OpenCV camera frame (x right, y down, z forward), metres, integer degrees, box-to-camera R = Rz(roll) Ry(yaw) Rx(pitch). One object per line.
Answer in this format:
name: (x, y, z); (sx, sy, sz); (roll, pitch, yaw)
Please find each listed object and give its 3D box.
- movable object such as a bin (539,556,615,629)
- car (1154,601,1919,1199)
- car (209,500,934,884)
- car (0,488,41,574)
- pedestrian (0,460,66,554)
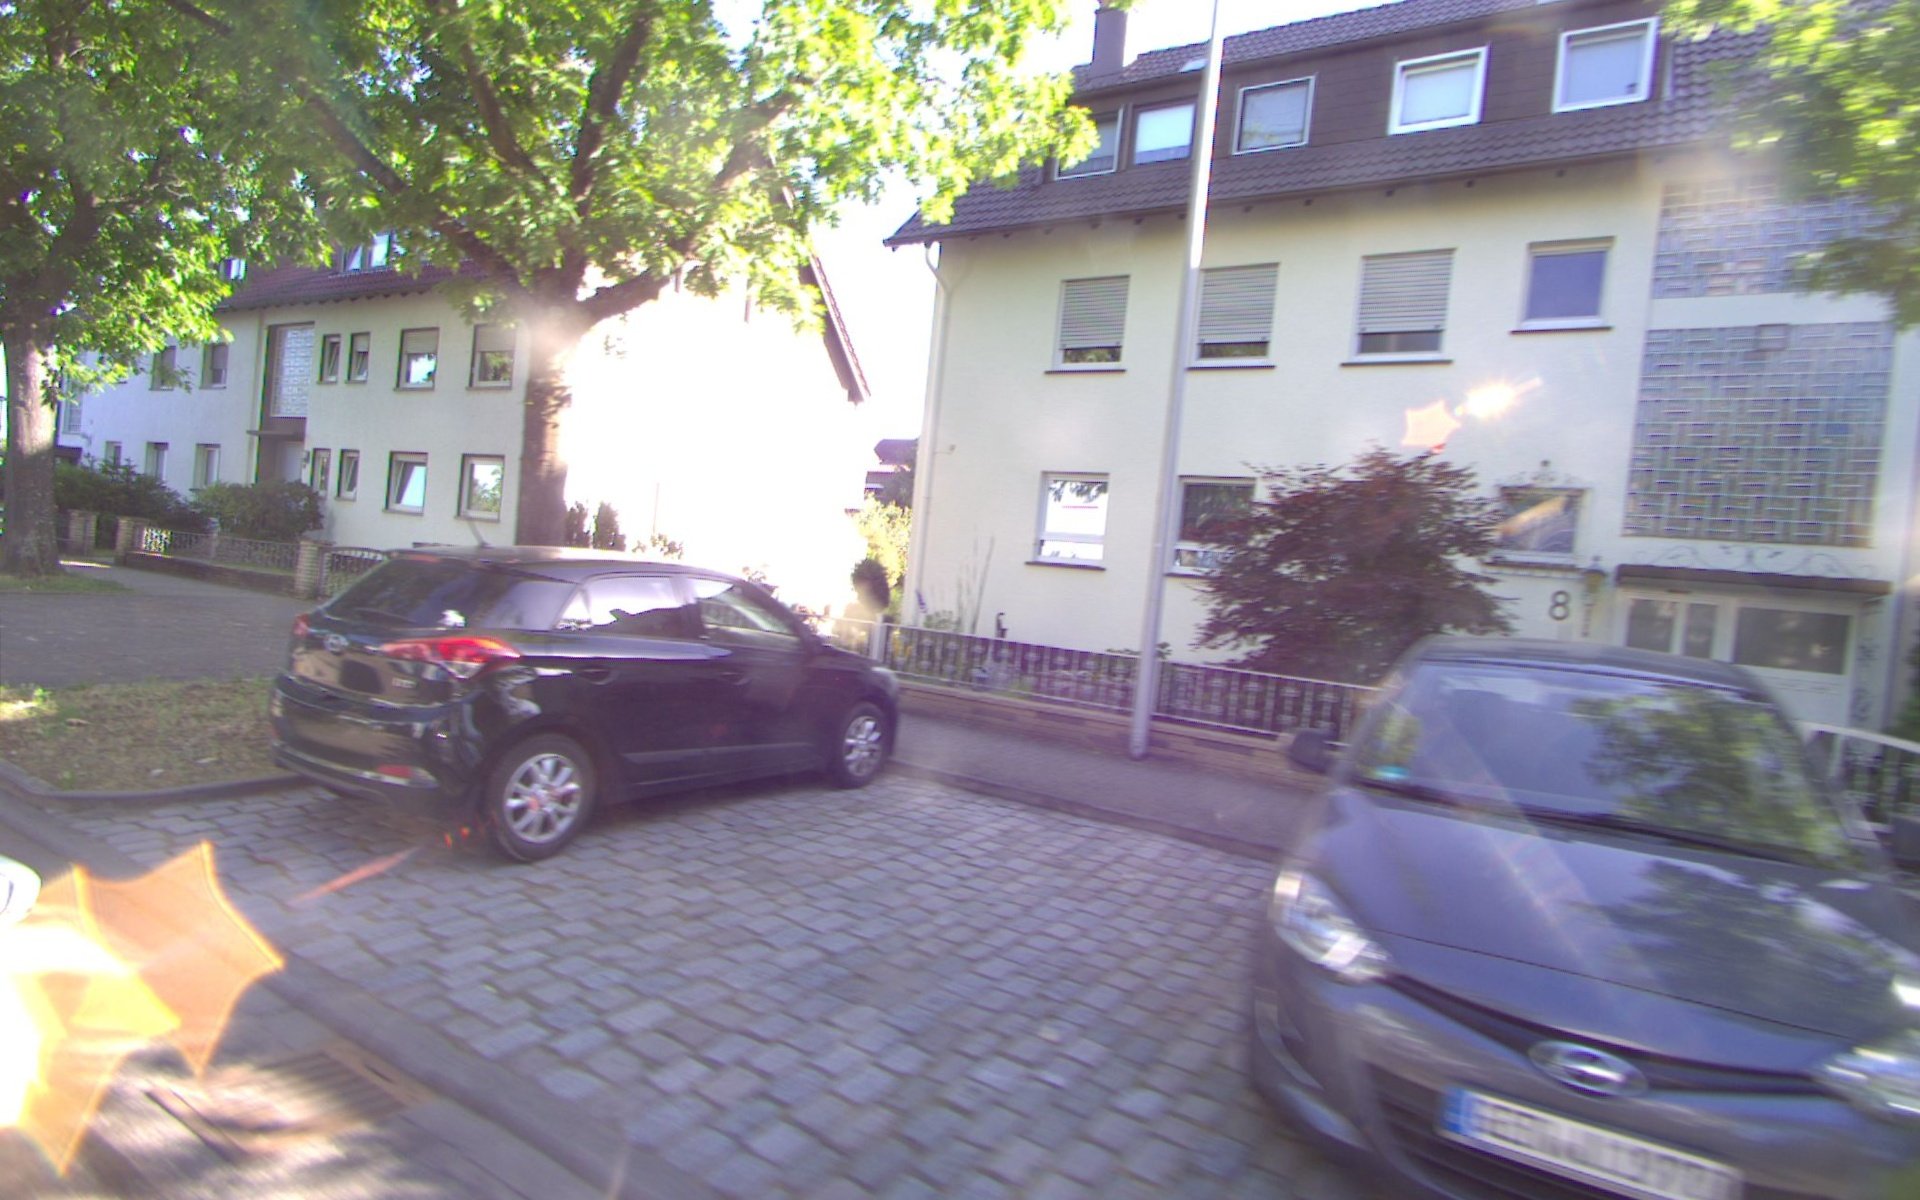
movable object such as a bin: (-6.401, -0.115, 16.828); (0.891, 1.113, 0.703); (6, 1, 30)
car: (2.278, 0.996, 3.883); (1.727, 1.644, 3.992); (6, 0, 29)
car: (-1.964, 0.443, 6.201); (1.634, 1.535, 3.885); (6, 0, 32)
car: (-17.429, -1.308, 15.578); (1.842, 1.380, 4.349); (6, 1, 31)
pedestrian: (-19.438, -1.941, 21.059); (0.699, 1.851, 0.835); (6, 1, 33)
